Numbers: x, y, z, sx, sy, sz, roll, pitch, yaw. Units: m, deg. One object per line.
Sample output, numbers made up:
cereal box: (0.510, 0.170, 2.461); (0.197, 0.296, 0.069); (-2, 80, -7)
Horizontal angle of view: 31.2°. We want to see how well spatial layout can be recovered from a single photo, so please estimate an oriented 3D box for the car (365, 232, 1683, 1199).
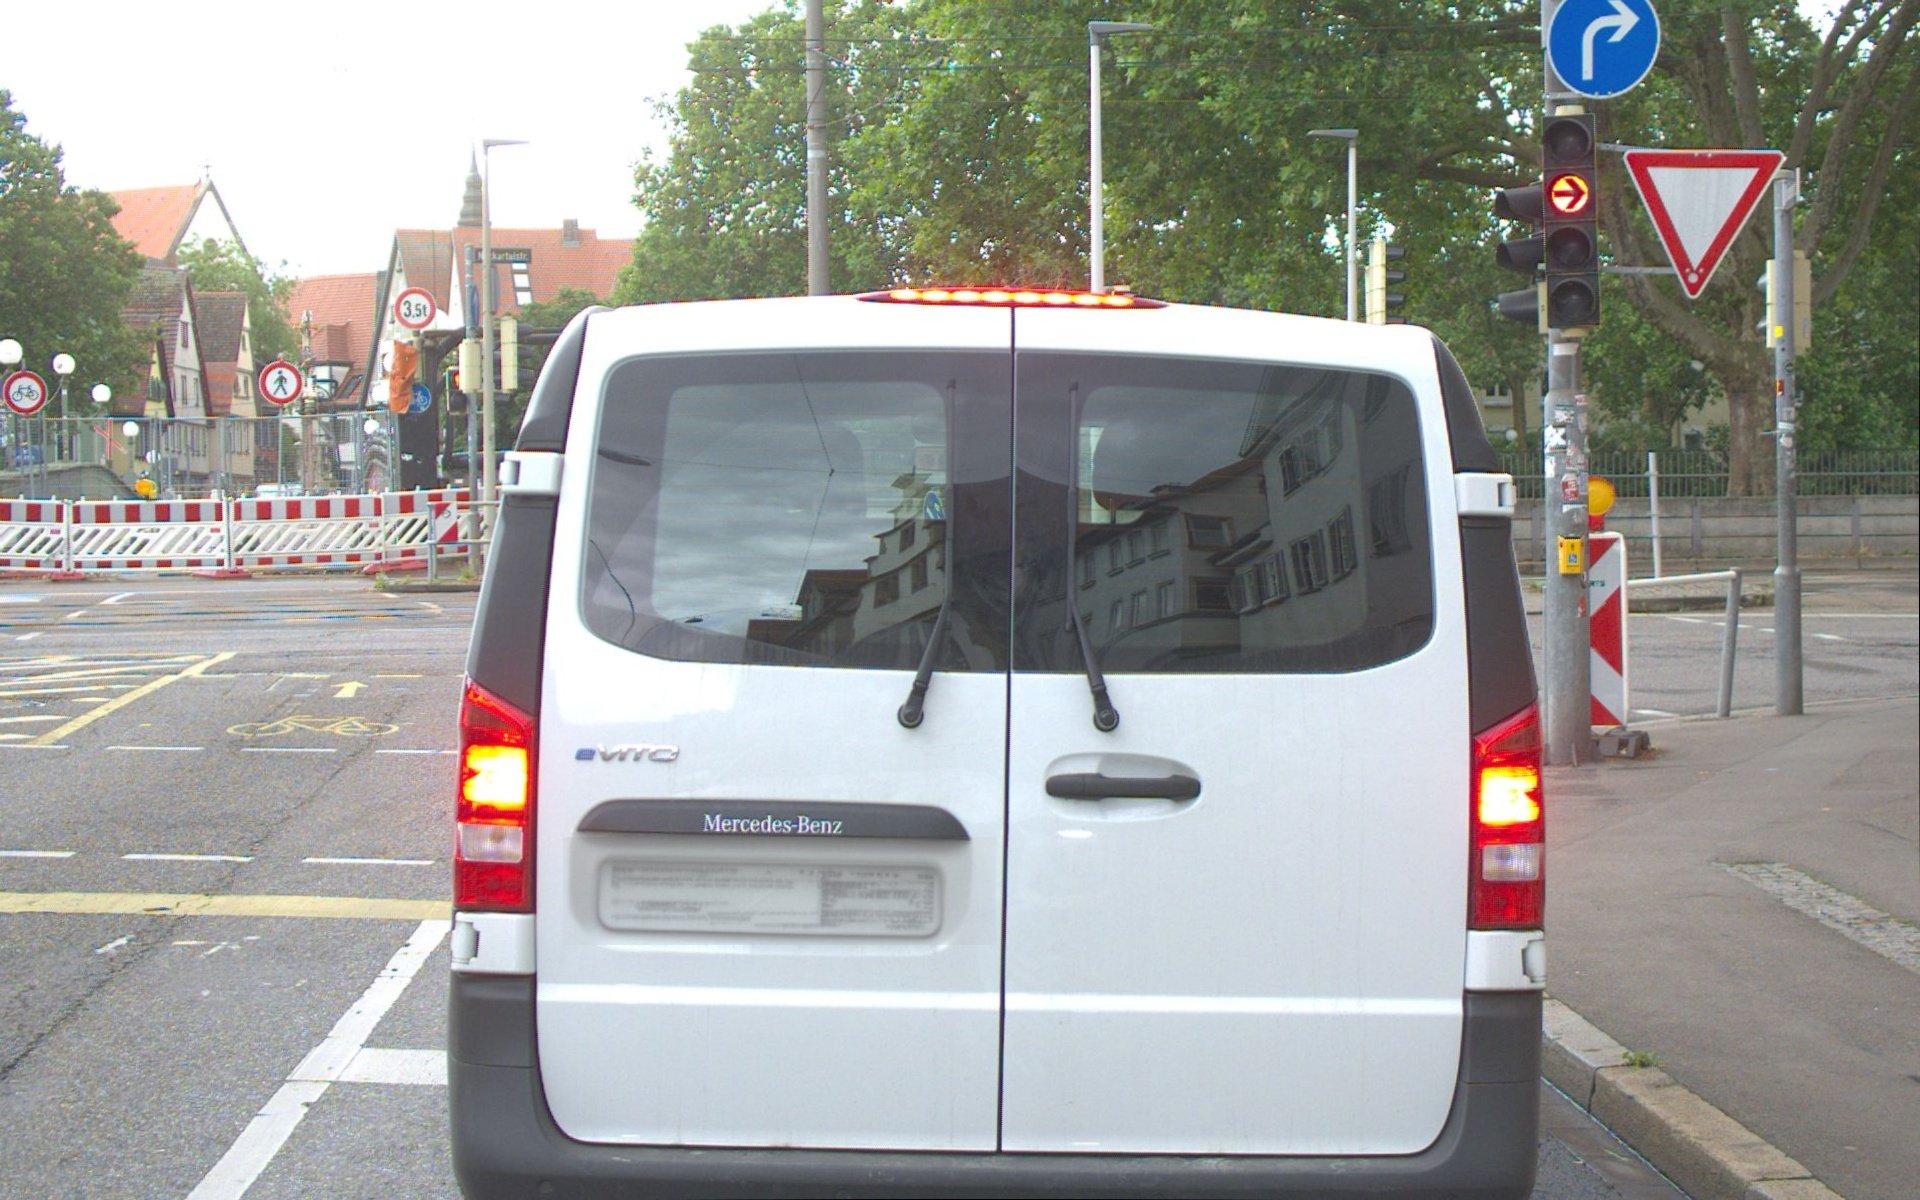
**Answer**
car: (-0.020, 0.311, 7.358); (1.993, 1.916, 4.250); (0, 3, -3)
